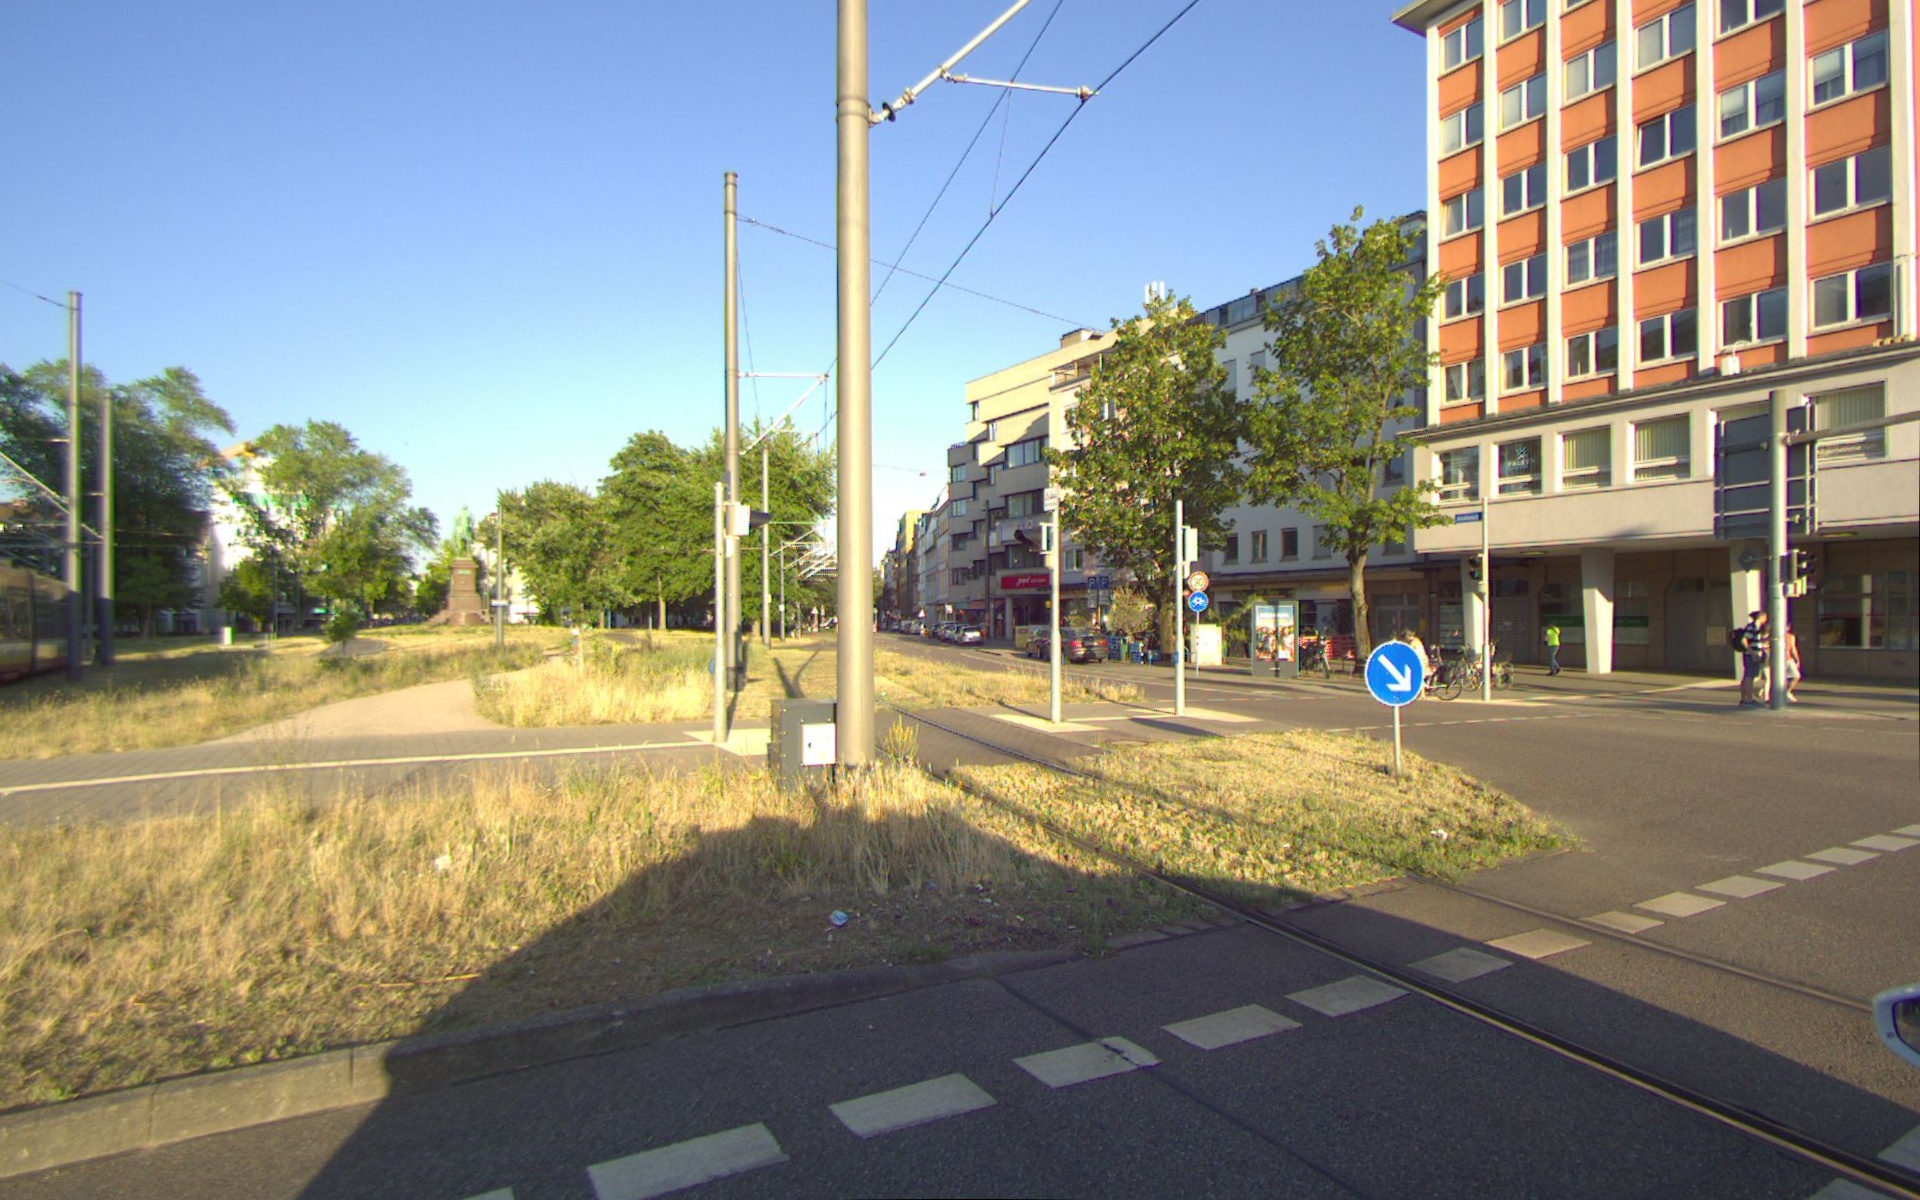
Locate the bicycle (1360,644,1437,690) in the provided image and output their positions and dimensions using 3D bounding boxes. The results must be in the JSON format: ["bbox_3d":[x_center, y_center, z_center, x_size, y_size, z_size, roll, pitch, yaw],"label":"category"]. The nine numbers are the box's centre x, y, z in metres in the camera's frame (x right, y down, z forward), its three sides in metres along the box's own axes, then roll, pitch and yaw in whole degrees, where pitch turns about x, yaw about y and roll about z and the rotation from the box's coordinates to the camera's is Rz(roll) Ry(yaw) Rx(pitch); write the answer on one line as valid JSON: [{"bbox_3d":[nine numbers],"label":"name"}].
[{"bbox_3d":[11.240,1.697,25.827,0.463,1.089,1.891,0,-1,-31],"label":"bicycle"}]

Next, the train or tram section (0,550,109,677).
[{"bbox_3d":[-32.207,0.499,34.630,2.884,3.788,12.080,0,-1,-33],"label":"train or tram section"}]

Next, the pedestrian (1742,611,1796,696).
[{"bbox_3d":[17.867,1.162,22.180,0.743,1.842,0.708,0,-1,-31],"label":"pedestrian"}]

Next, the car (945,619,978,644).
[{"bbox_3d":[0.074,2.453,79.034,1.964,1.886,3.993,0,-1,-10],"label":"car"}]

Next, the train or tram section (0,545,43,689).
[{"bbox_3d":[-25.819,0.428,24.621,2.855,3.788,12.076,0,-1,-32],"label":"train or tram section"}]

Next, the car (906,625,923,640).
[{"bbox_3d":[-5.725,4.074,126.309,1.962,1.903,3.901,0,-1,-6],"label":"car"}]

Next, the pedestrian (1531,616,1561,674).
[{"bbox_3d":[18.807,1.425,32.227,0.579,1.815,0.635,0,-1,-33],"label":"pedestrian"}]

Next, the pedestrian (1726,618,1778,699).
[{"bbox_3d":[17.229,1.251,21.861,0.579,1.707,0.723,0,-1,-33],"label":"pedestrian"}]

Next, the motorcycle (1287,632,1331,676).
[{"bbox_3d":[10.884,1.672,31.370,0.376,1.335,1.379,0,-1,-29],"label":"motorcycle"}]

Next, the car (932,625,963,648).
[{"bbox_3d":[-1.069,3.039,85.009,1.964,1.864,3.993,0,-1,-10],"label":"car"}]

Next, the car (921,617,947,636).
[{"bbox_3d":[-2.588,2.574,98.172,1.964,1.733,3.993,0,-1,-10],"label":"car"}]

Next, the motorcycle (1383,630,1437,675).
[{"bbox_3d":[13.788,1.597,30.758,1.814,1.335,0.541,0,-1,-30],"label":"motorcycle"}]

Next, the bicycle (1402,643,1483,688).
[{"bbox_3d":[12.660,1.705,26.395,0.463,1.089,1.979,0,-1,-31],"label":"bicycle"}]

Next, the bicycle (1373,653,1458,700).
[{"bbox_3d":[10.147,1.690,22.416,1.642,0.957,0.507,-1,-1,39],"label":"bicycle"}]

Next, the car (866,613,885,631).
[{"bbox_3d":[-10.520,2.765,125.432,1.961,2.040,3.999,-2,1,-1],"label":"car"}]

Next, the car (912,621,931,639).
[{"bbox_3d":[-4.270,3.313,111.816,1.962,2.007,3.998,0,-1,-4],"label":"car"}]

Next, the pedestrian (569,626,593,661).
[{"bbox_3d":[-16.548,1.891,43.881,0.691,1.515,0.904,0,0,-45],"label":"pedestrian"}]

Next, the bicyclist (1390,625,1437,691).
[{"bbox_3d":[10.134,1.276,22.432,0.844,1.445,0.498,-1,-1,40],"label":"bicyclist"}]

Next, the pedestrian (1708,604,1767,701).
[{"bbox_3d":[16.161,1.086,20.895,0.709,1.972,0.718,-1,-1,13],"label":"pedestrian"}]

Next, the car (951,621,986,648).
[{"bbox_3d":[0.602,2.525,73.623,1.891,1.889,3.994,0,-1,-9],"label":"car"}]

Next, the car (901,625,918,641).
[{"bbox_3d":[-6.650,4.316,131.857,1.962,2.040,3.997,0,-1,-5],"label":"car"}]

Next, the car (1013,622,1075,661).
[{"bbox_3d":[4.007,1.969,48.625,1.965,1.724,3.992,0,-1,-11],"label":"car"}]

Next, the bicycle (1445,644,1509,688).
[{"bbox_3d":[13.889,1.755,27.014,0.390,1.089,1.548,0,-1,-31],"label":"bicycle"}]

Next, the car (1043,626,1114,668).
[{"bbox_3d":[5.062,1.988,43.521,1.964,1.706,3.993,0,-1,-10],"label":"car"}]
